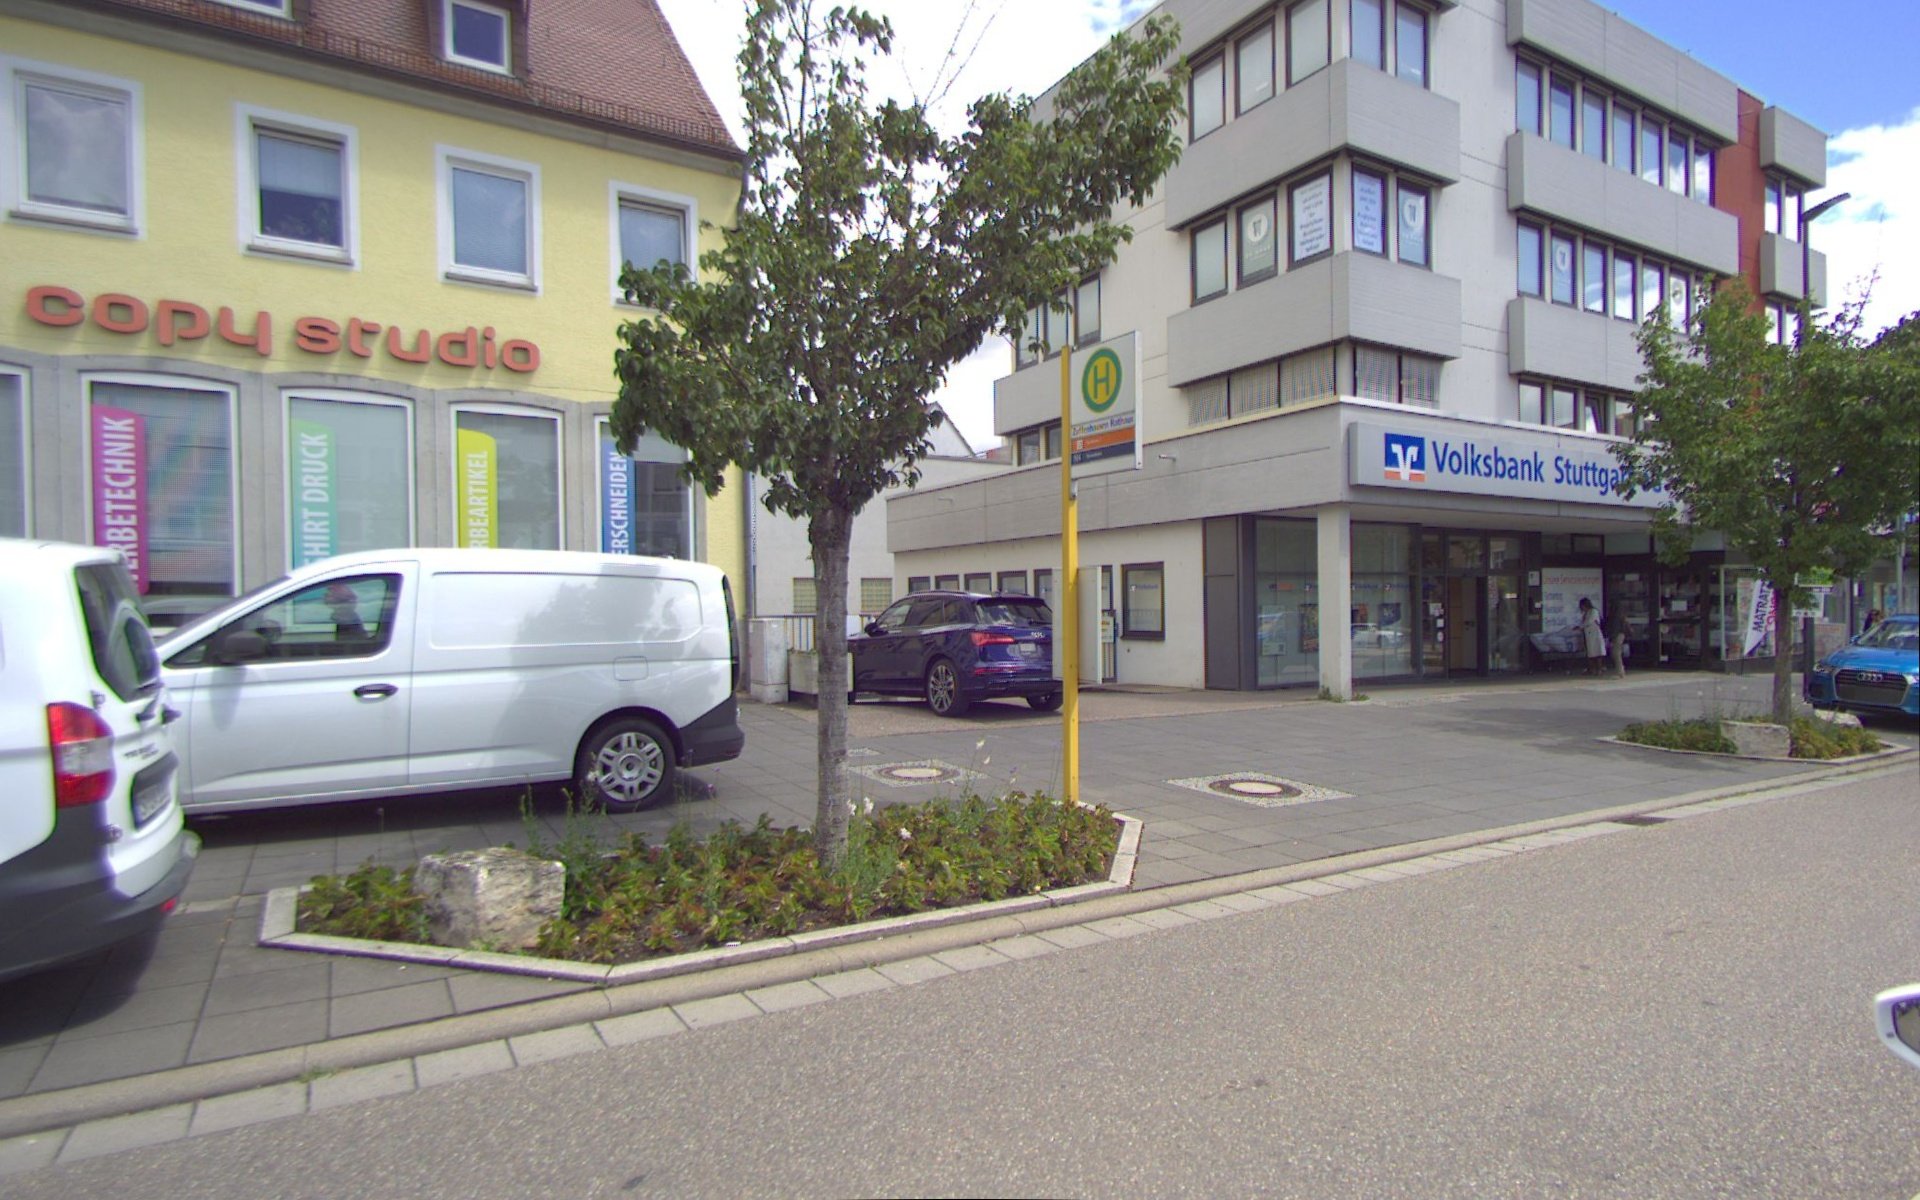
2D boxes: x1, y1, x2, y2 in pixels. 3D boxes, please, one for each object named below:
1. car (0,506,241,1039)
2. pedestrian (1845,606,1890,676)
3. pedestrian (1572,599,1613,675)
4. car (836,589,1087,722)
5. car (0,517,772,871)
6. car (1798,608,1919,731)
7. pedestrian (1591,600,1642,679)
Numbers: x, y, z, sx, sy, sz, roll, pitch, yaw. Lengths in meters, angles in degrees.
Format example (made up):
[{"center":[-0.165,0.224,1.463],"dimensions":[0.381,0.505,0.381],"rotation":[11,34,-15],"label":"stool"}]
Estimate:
[{"center":[-4.833,0.506,2.967],"dimensions":[4.305,1.694,1.646],"rotation":[1,0,-34],"label":"car"},{"center":[21.162,0.945,23.426],"dimensions":[0.631,1.609,0.584],"rotation":[1,1,-29],"label":"pedestrian"},{"center":[13.597,0.793,21.588],"dimensions":[0.579,1.587,0.508],"rotation":[1,-2,-29],"label":"pedestrian"},{"center":[-0.100,0.666,13.878],"dimensions":[1.653,1.579,3.602],"rotation":[1,0,-36],"label":"car"},{"center":[-3.742,0.510,7.040],"dimensions":[4.428,1.838,1.746],"rotation":[1,1,-33],"label":"car"},{"center":[14.744,0.995,15.159],"dimensions":[4.277,1.621,1.687],"rotation":[1,2,-28],"label":"car"},{"center":[13.439,0.799,20.564],"dimensions":[0.632,1.587,0.587],"rotation":[0,-1,1],"label":"pedestrian"}]
